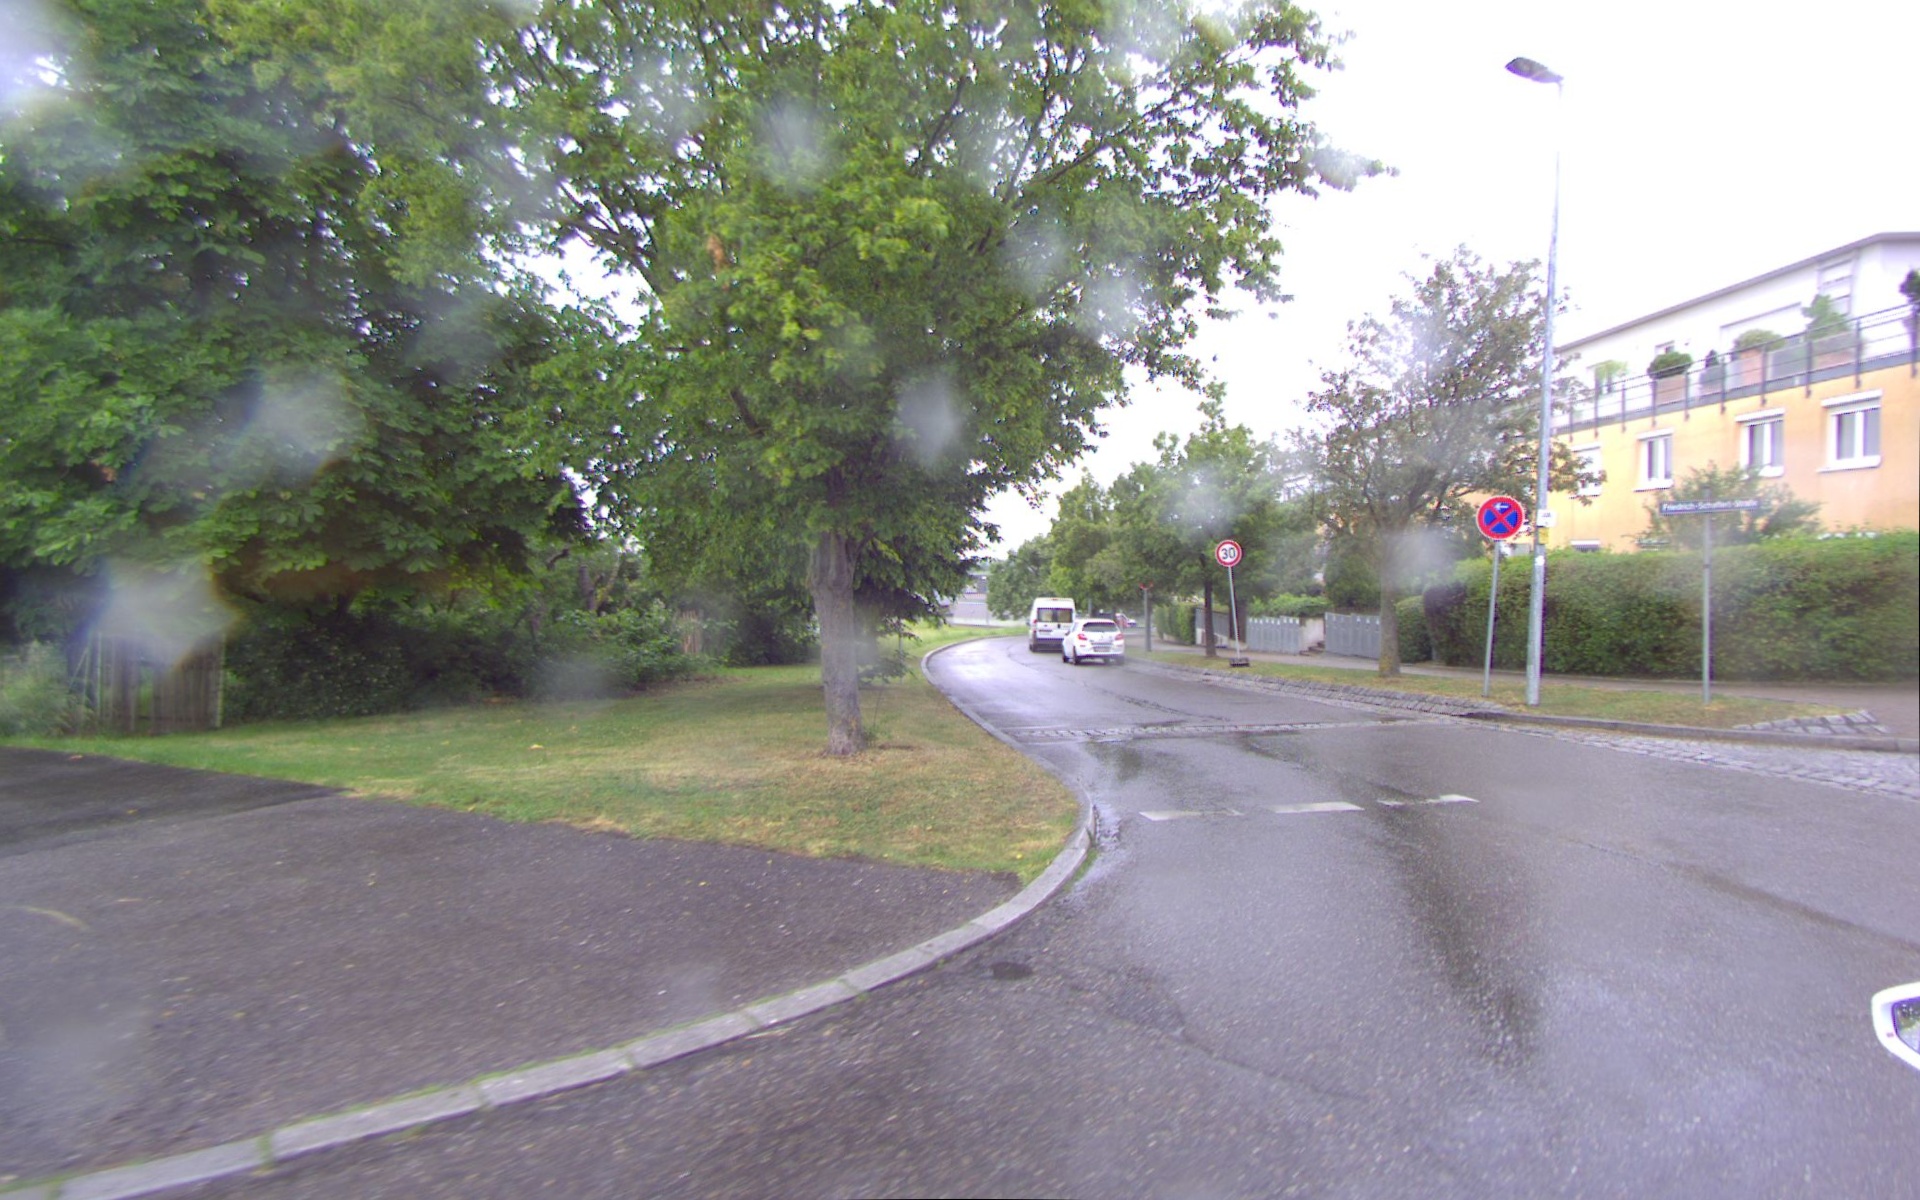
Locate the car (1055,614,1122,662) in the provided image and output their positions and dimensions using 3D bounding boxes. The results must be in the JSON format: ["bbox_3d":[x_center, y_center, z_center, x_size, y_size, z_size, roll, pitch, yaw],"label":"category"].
[{"bbox_3d":[4.237,1.241,33.601,1.580,1.522,3.725,0,-1,-3],"label":"car"}]

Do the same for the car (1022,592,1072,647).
[{"bbox_3d":[4.174,0.951,49.134,2.082,2.500,5.511,0,-1,1],"label":"car"}]

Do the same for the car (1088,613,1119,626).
[{"bbox_3d":[17.970,2.434,125.757,3.503,1.627,1.692,-2,-1,21],"label":"car"}]
